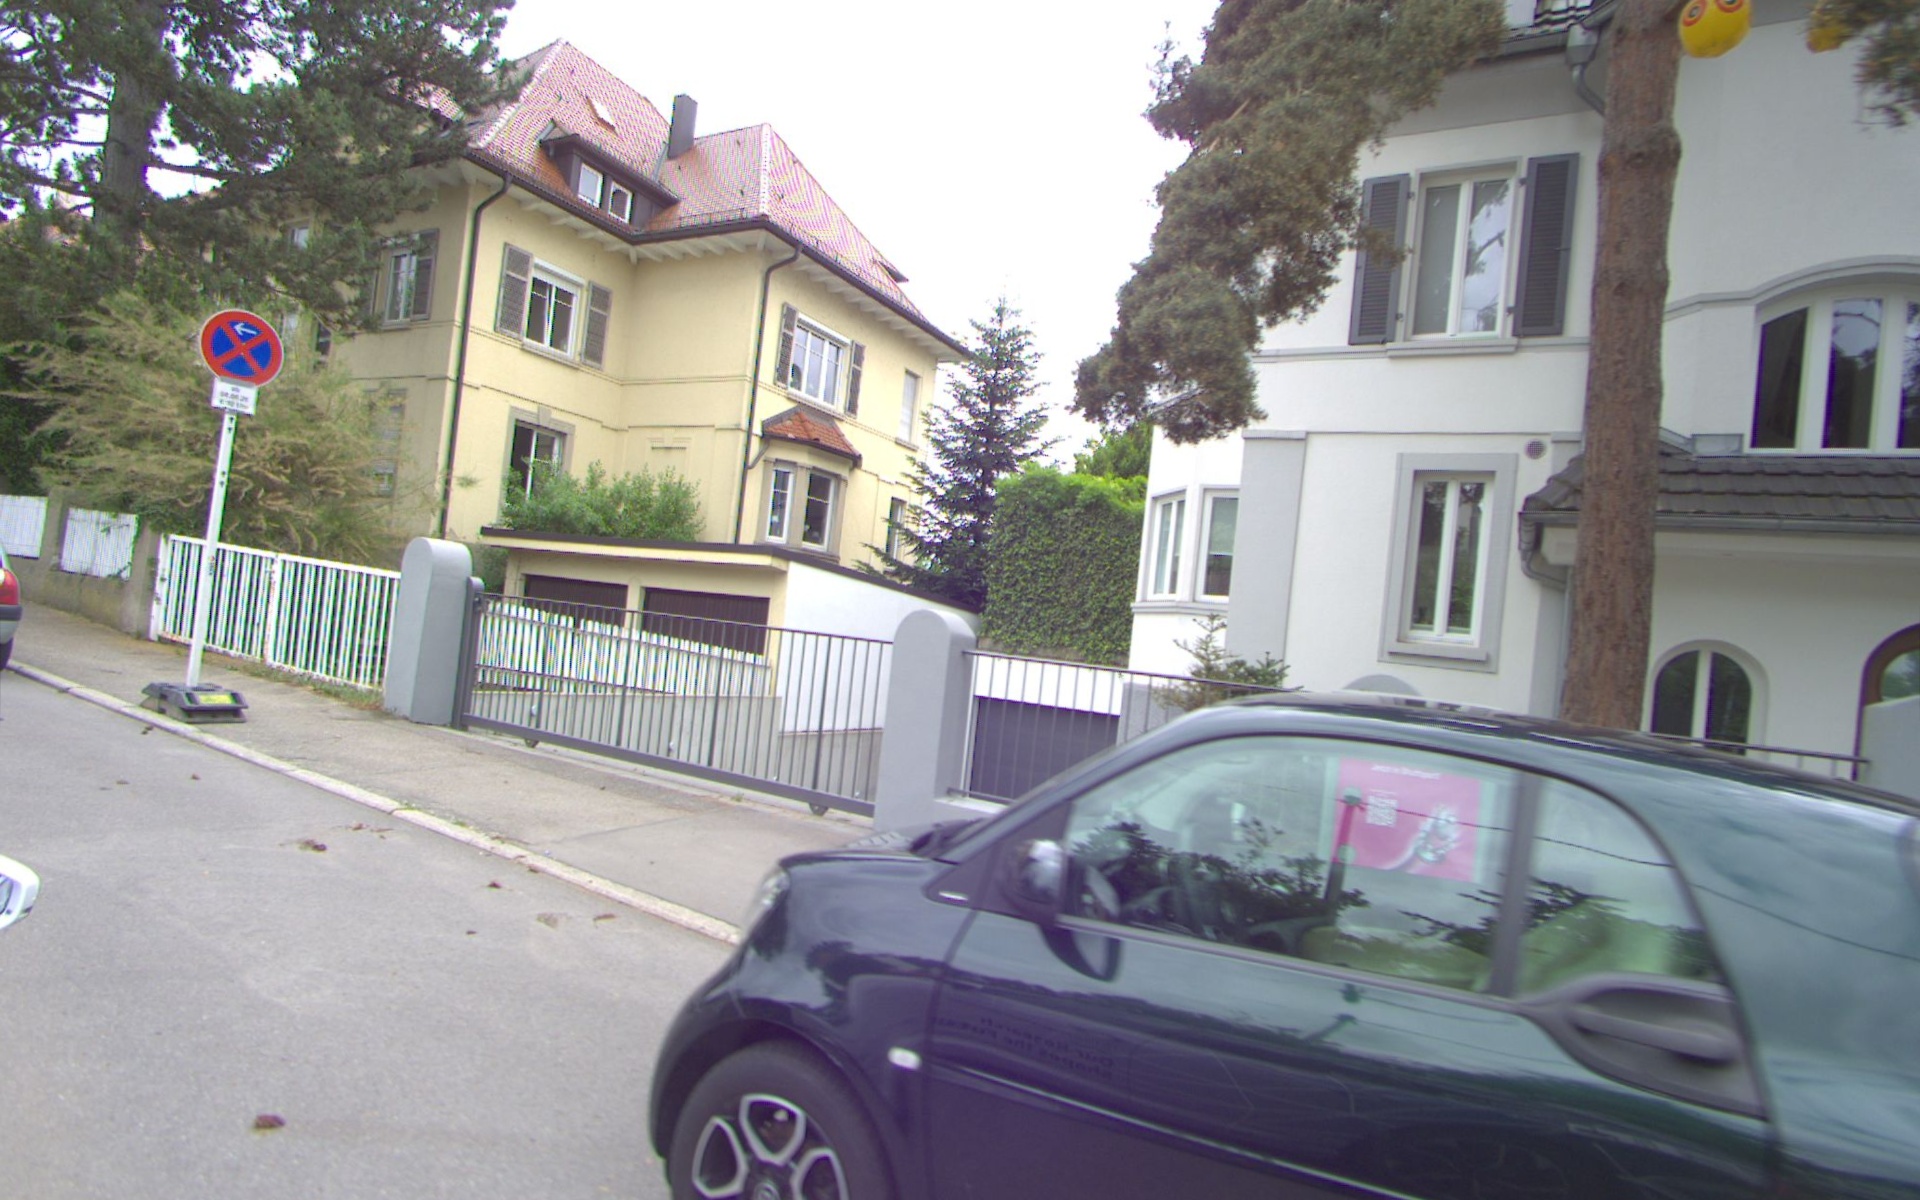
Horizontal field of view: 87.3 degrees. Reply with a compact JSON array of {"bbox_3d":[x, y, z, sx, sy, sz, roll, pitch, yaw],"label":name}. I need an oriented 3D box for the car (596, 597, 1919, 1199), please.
[{"bbox_3d":[0.852,1.033,2.358,2.817,1.548,1.578,8,-3,27],"label":"car"}]

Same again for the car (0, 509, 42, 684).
[{"bbox_3d":[-9.726,-0.300,8.656,3.593,1.415,1.578,8,-3,30],"label":"car"}]

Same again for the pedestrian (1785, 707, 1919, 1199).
[{"bbox_3d":[3.520,1.231,3.453,0.892,1.597,0.680,6,1,36],"label":"pedestrian"}]
